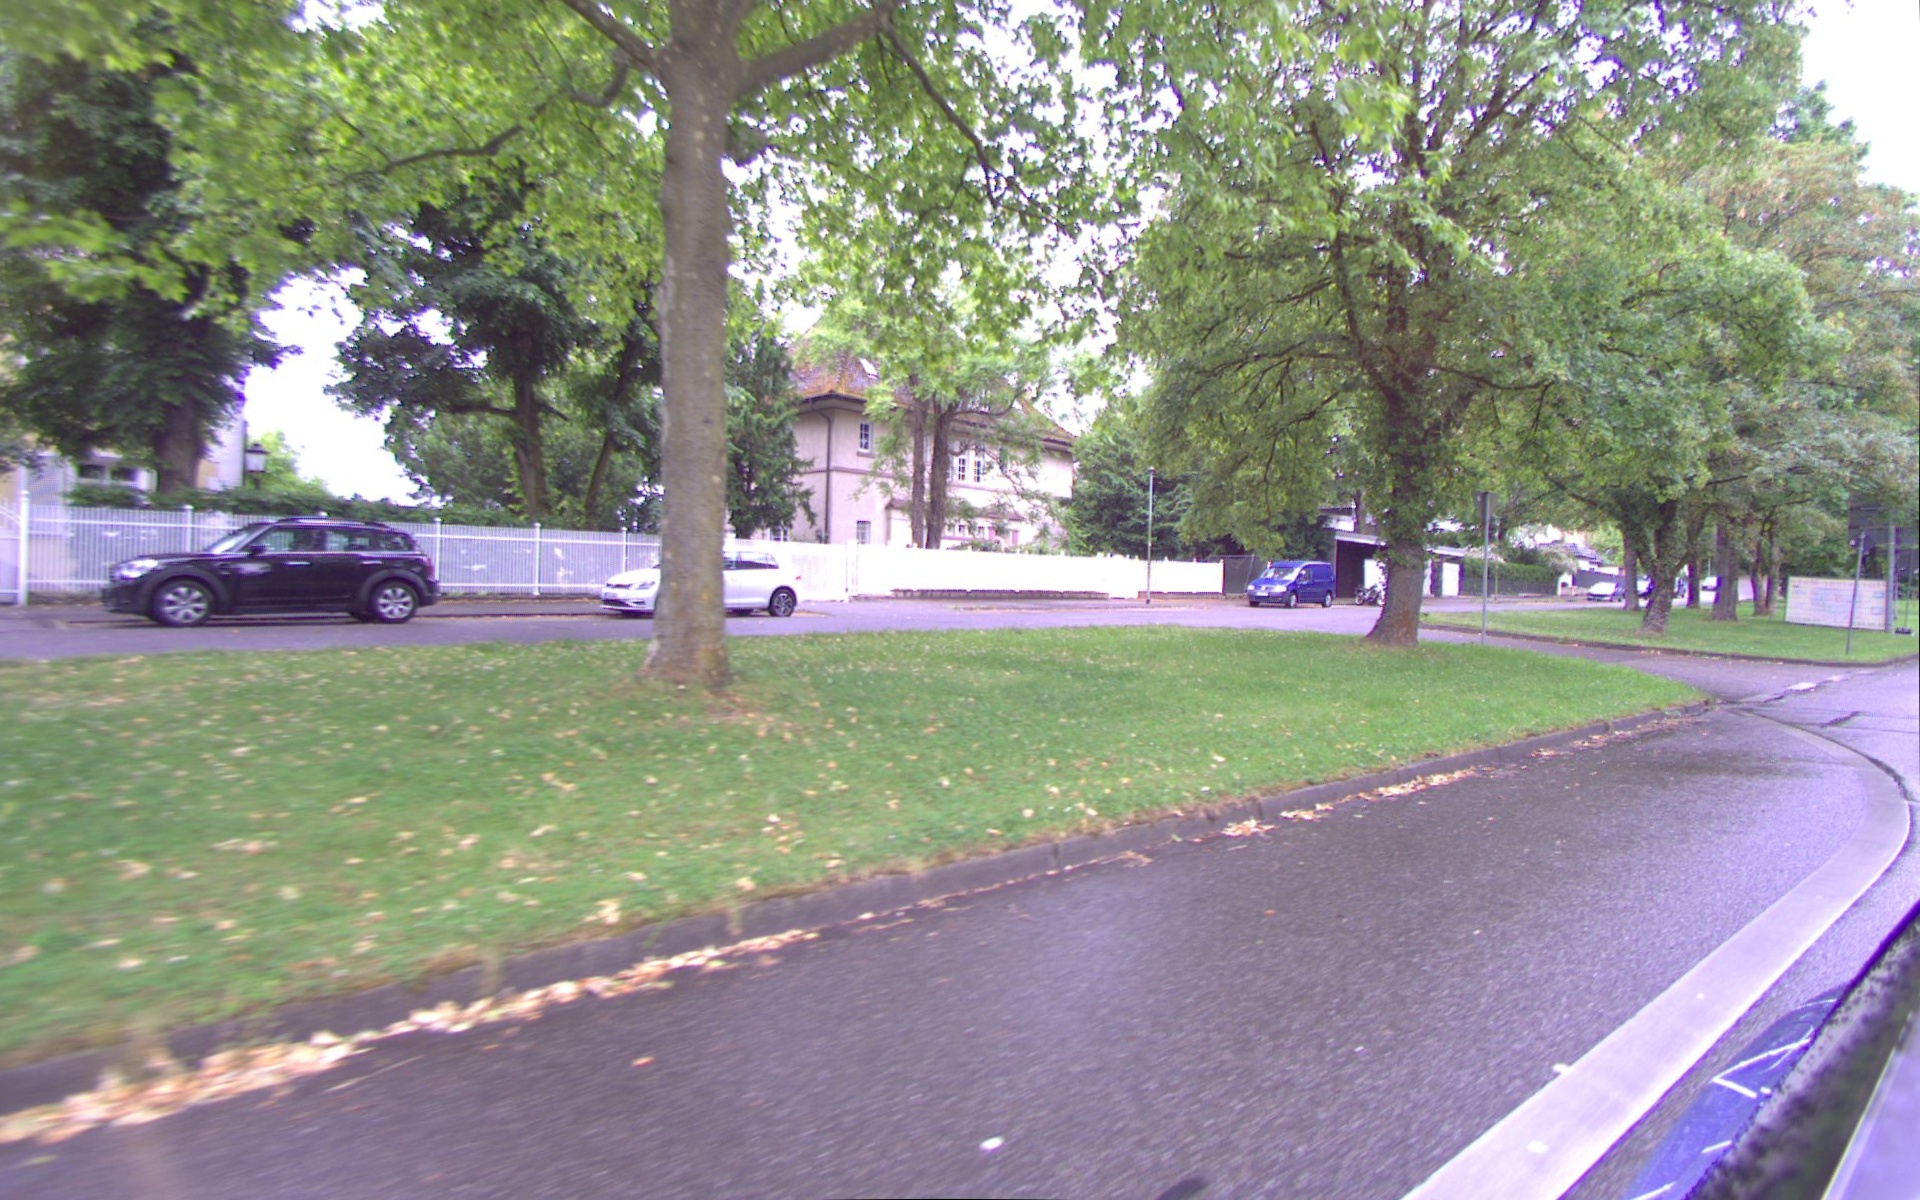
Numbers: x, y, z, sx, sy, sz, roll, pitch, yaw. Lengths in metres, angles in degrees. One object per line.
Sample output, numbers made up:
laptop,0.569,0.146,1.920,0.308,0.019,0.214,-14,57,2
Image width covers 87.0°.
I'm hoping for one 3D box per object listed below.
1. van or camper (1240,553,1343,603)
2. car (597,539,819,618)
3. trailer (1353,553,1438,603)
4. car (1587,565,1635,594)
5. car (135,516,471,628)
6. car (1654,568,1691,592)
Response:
van or camper,12.885,-0.840,39.211,1.993,1.831,4.701,0,1,43
car,-5.152,-0.422,20.998,1.994,1.467,4.059,0,1,45
trailer,19.754,-0.997,45.819,5.108,2.143,1.767,-1,1,-45
car,48.548,-1.549,75.445,3.932,2.038,1.997,0,3,-42
car,-10.056,-0.399,15.673,1.994,1.489,4.059,0,1,45
car,64.987,-1.811,92.345,3.933,2.039,1.996,2,1,-44
